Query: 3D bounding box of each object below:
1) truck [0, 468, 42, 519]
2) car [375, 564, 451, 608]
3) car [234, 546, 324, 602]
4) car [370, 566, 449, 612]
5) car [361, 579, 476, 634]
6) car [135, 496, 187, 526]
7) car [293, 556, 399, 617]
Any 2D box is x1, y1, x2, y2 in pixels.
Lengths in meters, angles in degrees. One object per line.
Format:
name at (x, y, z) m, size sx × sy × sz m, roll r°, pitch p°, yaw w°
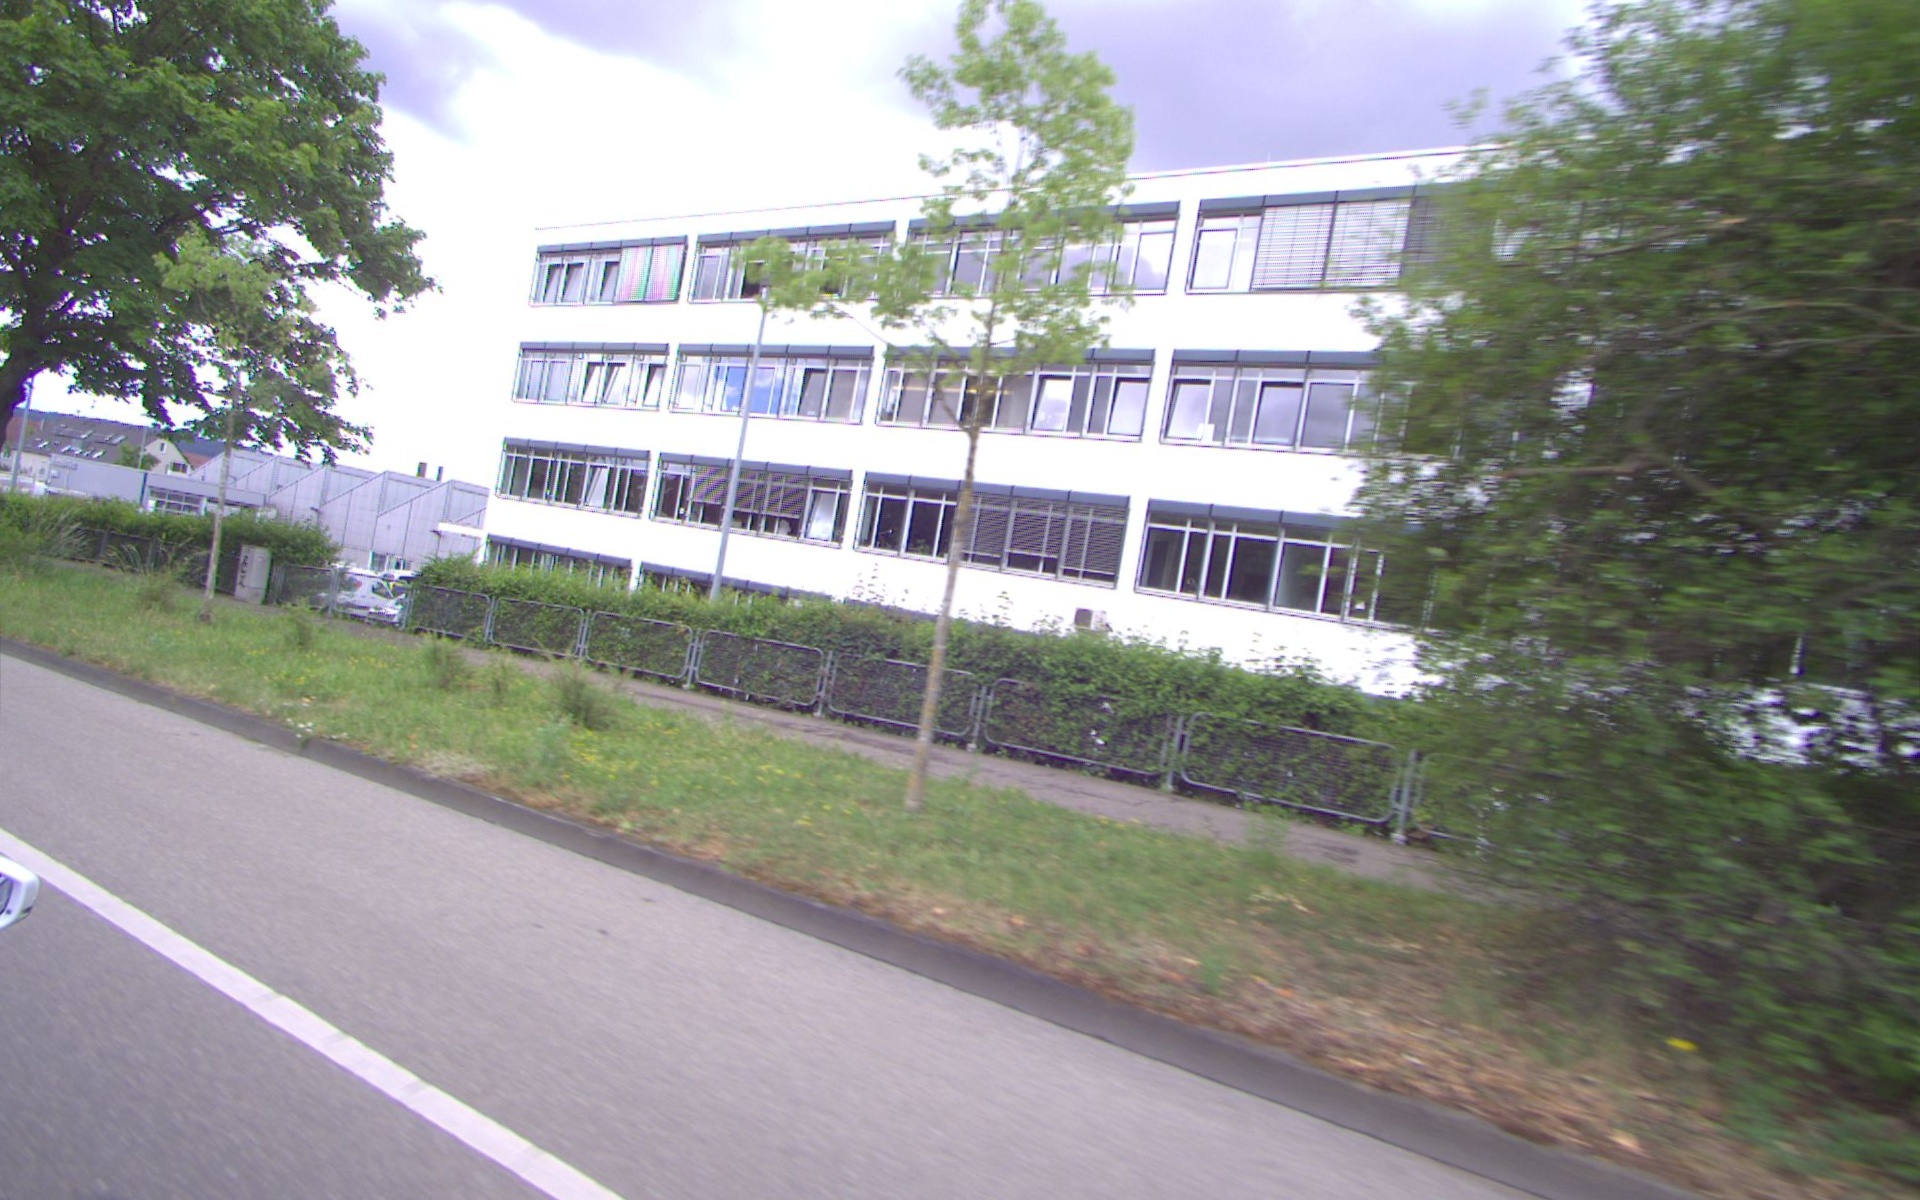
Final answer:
truck at (-76.817, -8.665, 80.110) m, size 9.386 × 3.498 × 2.858 m, roll 6°, pitch -2°, yaw 33°
car at (-38.610, -0.977, 71.105) m, size 1.968 × 2.496 × 3.994 m, roll 7°, pitch -3°, yaw 33°
car at (-33.162, -1.278, 48.963) m, size 3.934 × 2.170 × 1.998 m, roll 6°, pitch -2°, yaw 32°
car at (-37.194, -0.701, 68.016) m, size 1.968 × 2.496 × 3.994 m, roll 7°, pitch -3°, yaw 33°
car at (-24.721, 0.317, 46.039) m, size 1.968 × 1.896 × 3.994 m, roll 6°, pitch -3°, yaw 33°
car at (-86.884, -9.669, 109.444) m, size 2.229 × 2.709 × 5.429 m, roll 8°, pitch 0°, yaw -16°
car at (-31.598, -0.678, 51.881) m, size 1.968 × 2.500 × 3.994 m, roll 7°, pitch -3°, yaw 33°
